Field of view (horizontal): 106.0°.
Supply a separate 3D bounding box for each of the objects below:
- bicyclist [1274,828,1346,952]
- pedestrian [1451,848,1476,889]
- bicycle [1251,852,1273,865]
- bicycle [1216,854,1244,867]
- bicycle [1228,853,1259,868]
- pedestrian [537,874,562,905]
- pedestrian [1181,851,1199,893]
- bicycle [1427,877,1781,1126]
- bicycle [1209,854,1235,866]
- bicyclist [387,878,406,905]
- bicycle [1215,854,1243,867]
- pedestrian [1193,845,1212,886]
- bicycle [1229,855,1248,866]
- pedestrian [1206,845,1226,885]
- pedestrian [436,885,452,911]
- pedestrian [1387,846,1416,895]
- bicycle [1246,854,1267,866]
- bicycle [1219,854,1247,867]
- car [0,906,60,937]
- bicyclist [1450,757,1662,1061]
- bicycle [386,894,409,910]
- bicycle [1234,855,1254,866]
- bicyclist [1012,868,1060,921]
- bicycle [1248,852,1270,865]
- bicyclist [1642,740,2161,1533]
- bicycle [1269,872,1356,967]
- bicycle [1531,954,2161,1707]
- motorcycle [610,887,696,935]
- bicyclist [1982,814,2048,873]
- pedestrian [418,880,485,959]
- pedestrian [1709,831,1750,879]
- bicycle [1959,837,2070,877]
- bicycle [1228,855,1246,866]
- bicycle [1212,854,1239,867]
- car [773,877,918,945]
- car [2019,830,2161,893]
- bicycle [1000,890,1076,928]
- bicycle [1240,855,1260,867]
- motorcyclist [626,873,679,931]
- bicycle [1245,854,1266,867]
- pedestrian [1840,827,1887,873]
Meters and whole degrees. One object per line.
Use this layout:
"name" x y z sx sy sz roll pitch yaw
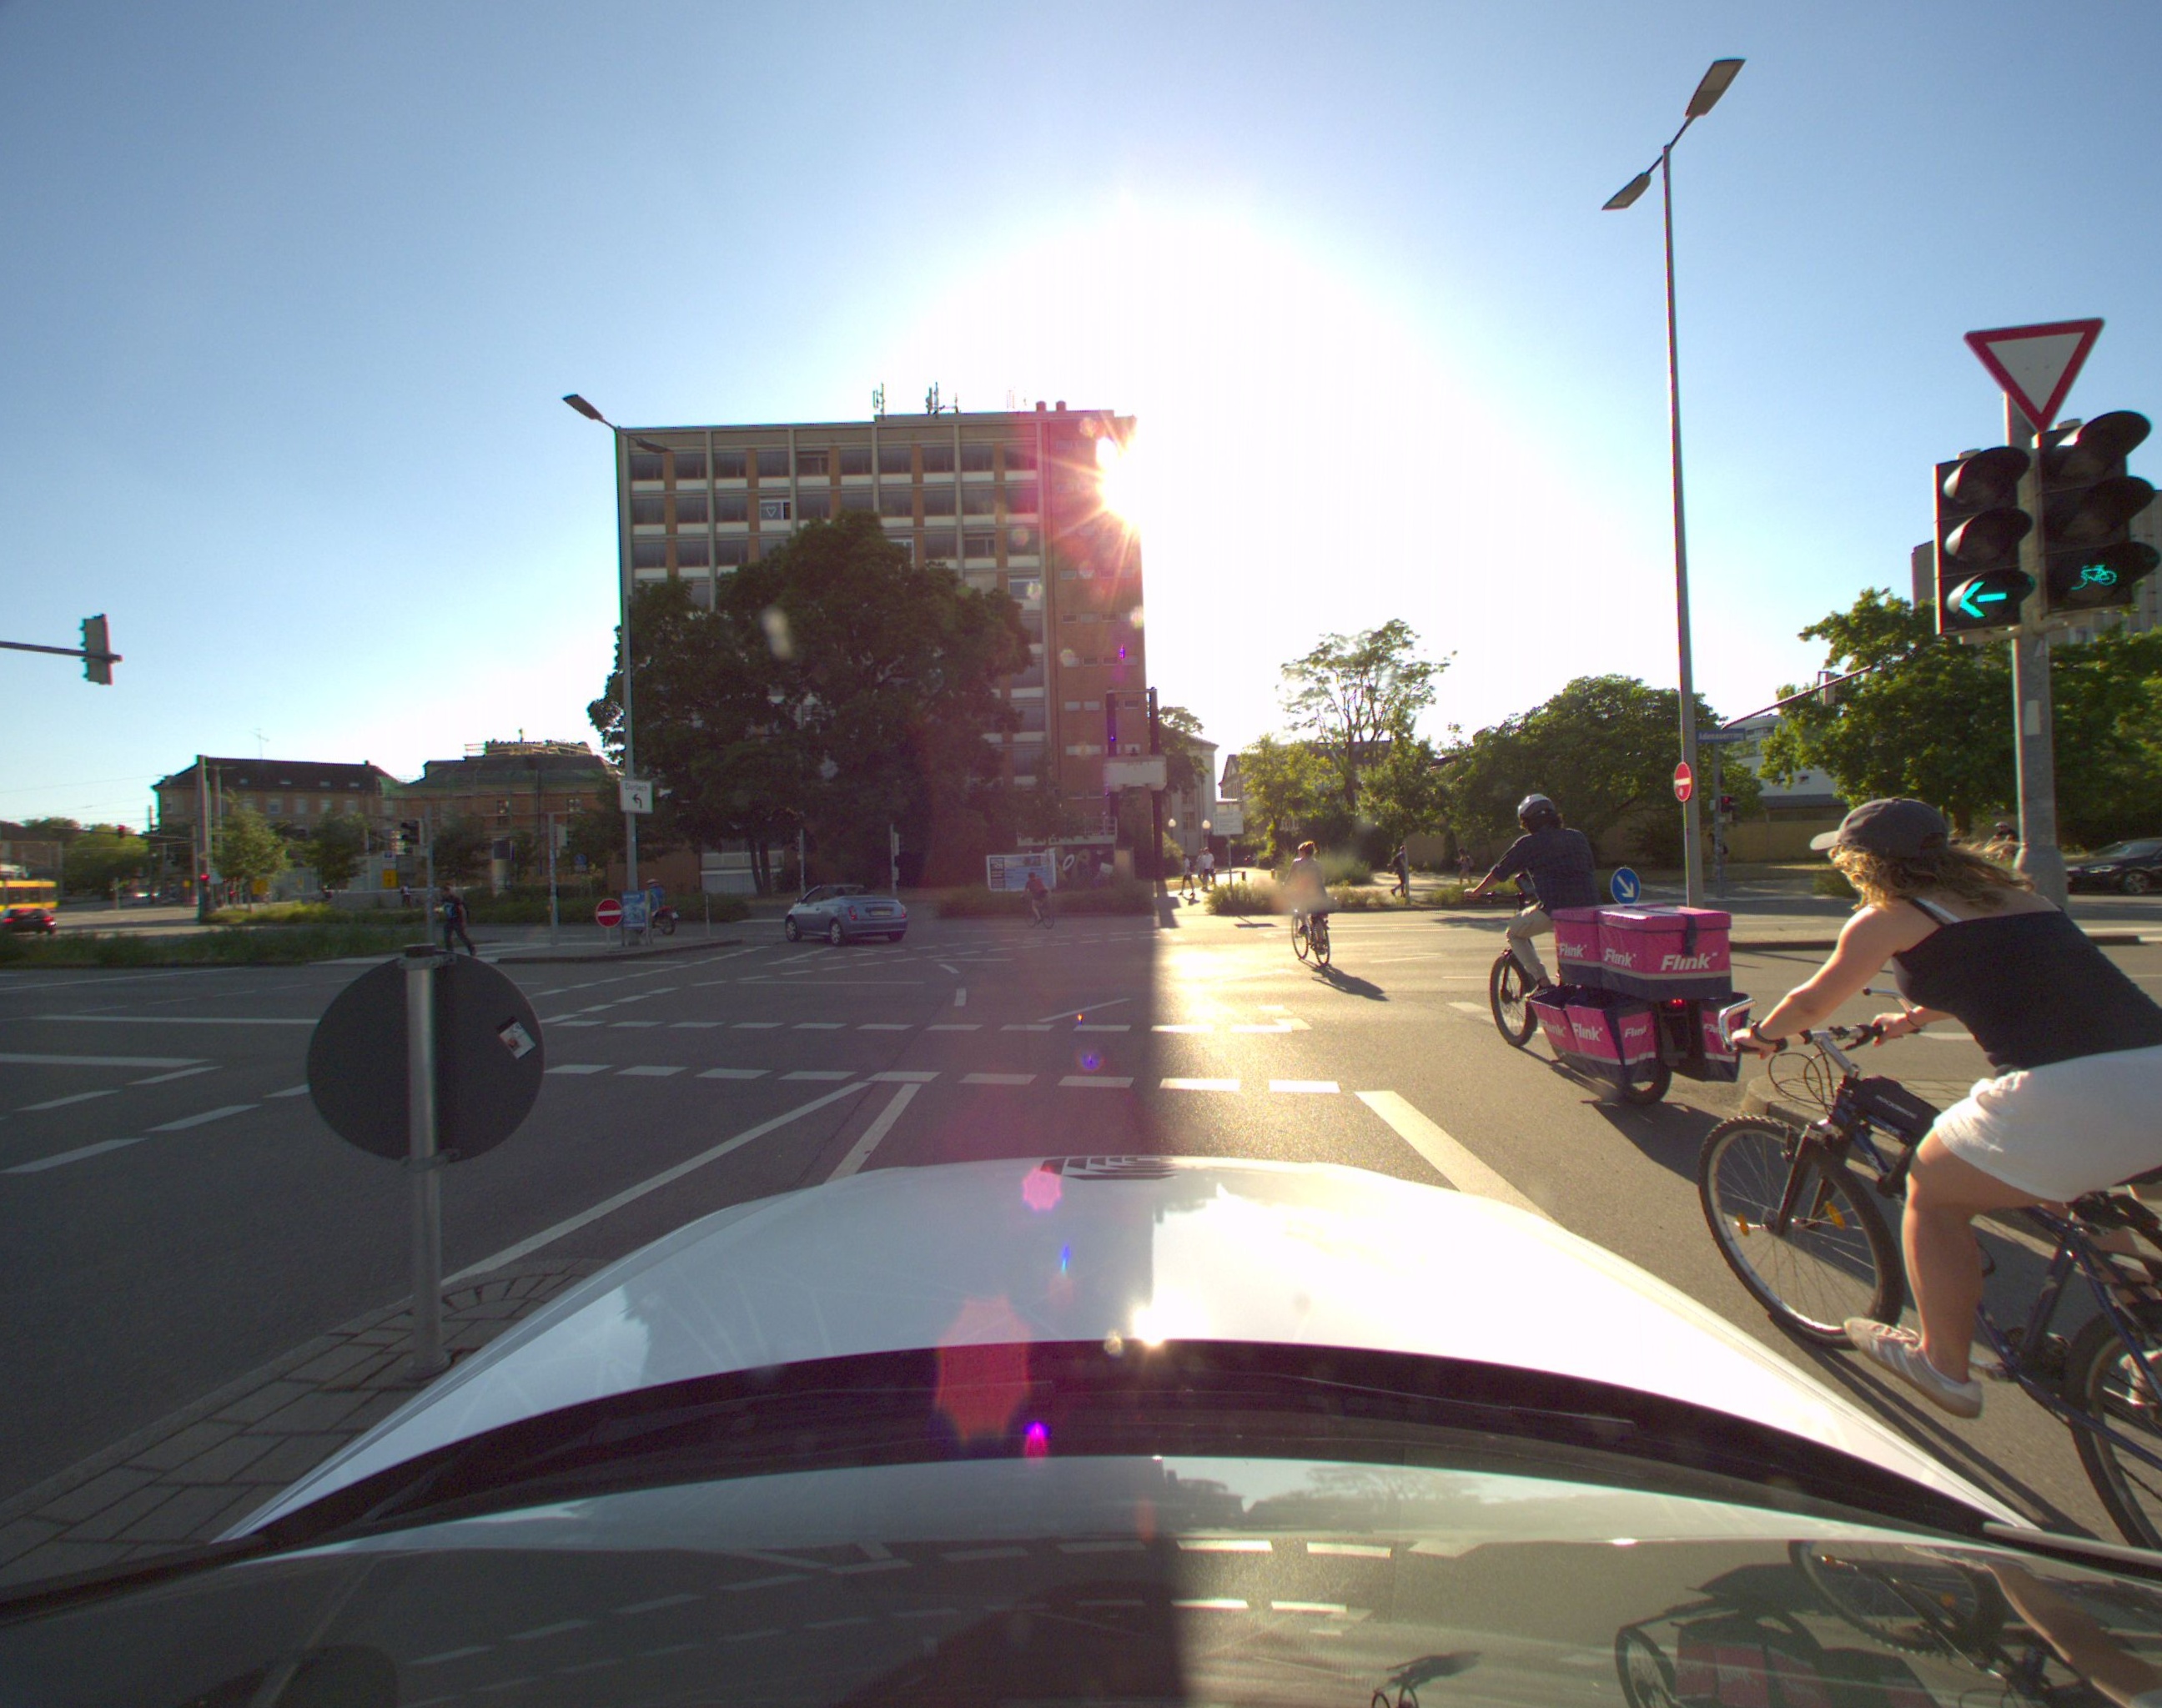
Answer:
"bicyclist" 3.272 0.498 11.747 0.774 1.677 1.095 -2 0 6
"pedestrian" 14.815 0.559 31.540 0.634 1.574 0.623 -2 0 4
"bicycle" 15.274 0.381 68.868 1.786 1.107 0.500 0 -1 3
"bicycle" 15.933 0.687 87.073 2.859 1.381 0.683 0 -1 3
"bicycle" 15.828 0.638 79.459 2.859 1.381 0.683 0 -1 3
"pedestrian" -28.705 1.900 43.955 0.781 1.659 0.812 -2 -1 20
"pedestrian" 4.526 0.743 33.864 0.624 1.699 0.625 -2 0 13
"bicycle" 3.167 0.780 5.377 0.774 1.156 2.583 -2 0 4
"bicycle" 16.155 0.726 93.312 2.859 1.381 0.683 0 -1 3
"bicyclist" -47.697 2.587 56.745 0.882 1.786 0.794 -3 1 38
"bicycle" 15.968 0.692 87.942 2.859 1.381 0.683 0 -1 3
"pedestrian" 5.741 0.545 38.537 0.579 1.869 0.616 -2 -1 -35
"bicycle" 15.726 0.651 81.313 1.786 1.107 0.500 0 -1 3
"pedestrian" 6.320 0.520 38.164 0.579 1.869 0.616 -2 -1 -35
"pedestrian" -40.353 2.785 51.557 0.729 1.659 0.709 1 -4 -41
"pedestrian" 11.540 0.573 29.321 0.728 1.713 0.713 -2 0 4
"bicycle" 15.580 0.548 72.482 1.786 1.107 0.500 0 -1 3
"bicycle" 15.874 0.674 85.033 2.859 1.381 0.683 0 -1 3
"car" -54.070 3.419 41.599 3.927 1.444 1.818 -3 -2 30
"bicyclist" 3.158 0.341 5.542 0.774 1.833 1.094 -2 0 3
"bicycle" -47.685 3.343 56.784 1.937 1.038 0.797 -3 1 38
"bicycle" 15.745 0.634 78.692 1.786 1.107 0.500 0 -1 3
"bicyclist" -1.244 1.117 22.443 1.062 1.384 0.726 -5 -3 44
"bicycle" 15.456 0.400 70.798 1.786 1.107 0.500 0 -1 3
"bicyclist" 2.097 0.547 2.044 0.713 1.548 0.849 -4 0 -1
"bicycle" 3.286 0.882 11.774 0.774 1.156 2.295 -2 0 6
"bicycle" 2.115 0.977 2.183 0.715 1.121 1.868 -4 1 -1
"motorcycle" -13.191 1.752 25.069 2.619 1.377 1.106 -3 -2 31
"bicyclist" 29.760 -0.331 25.969 1.082 1.830 0.783 -2 0 13
"pedestrian" -14.204 1.463 18.389 0.739 1.685 0.904 -2 0 20
"pedestrian" 23.757 0.039 29.842 0.871 1.704 0.676 -2 0 -1
"bicycle" 29.746 0.096 25.975 2.267 1.156 0.783 -2 0 13
"bicycle" 15.952 0.662 83.240 1.786 1.107 0.500 0 -1 3
"bicycle" 16.192 0.713 91.247 2.859 1.381 0.683 0 -1 3
"car" -5.775 1.333 19.747 1.816 1.444 3.929 0 -2 -42
"car" 27.971 0.158 21.522 3.965 1.519 1.807 -2 0 7
"bicycle" -1.200 1.516 22.397 2.221 0.952 0.726 -5 -3 44
"bicycle" 15.829 0.617 76.245 1.786 1.107 0.500 0 -1 3
"motorcyclist" -13.175 1.475 25.064 0.924 1.721 1.106 -3 -2 31
"bicycle" 15.679 0.578 73.285 1.786 1.107 0.500 0 -1 3
"pedestrian" 27.305 -0.139 28.427 0.842 1.543 0.762 -2 0 -2
